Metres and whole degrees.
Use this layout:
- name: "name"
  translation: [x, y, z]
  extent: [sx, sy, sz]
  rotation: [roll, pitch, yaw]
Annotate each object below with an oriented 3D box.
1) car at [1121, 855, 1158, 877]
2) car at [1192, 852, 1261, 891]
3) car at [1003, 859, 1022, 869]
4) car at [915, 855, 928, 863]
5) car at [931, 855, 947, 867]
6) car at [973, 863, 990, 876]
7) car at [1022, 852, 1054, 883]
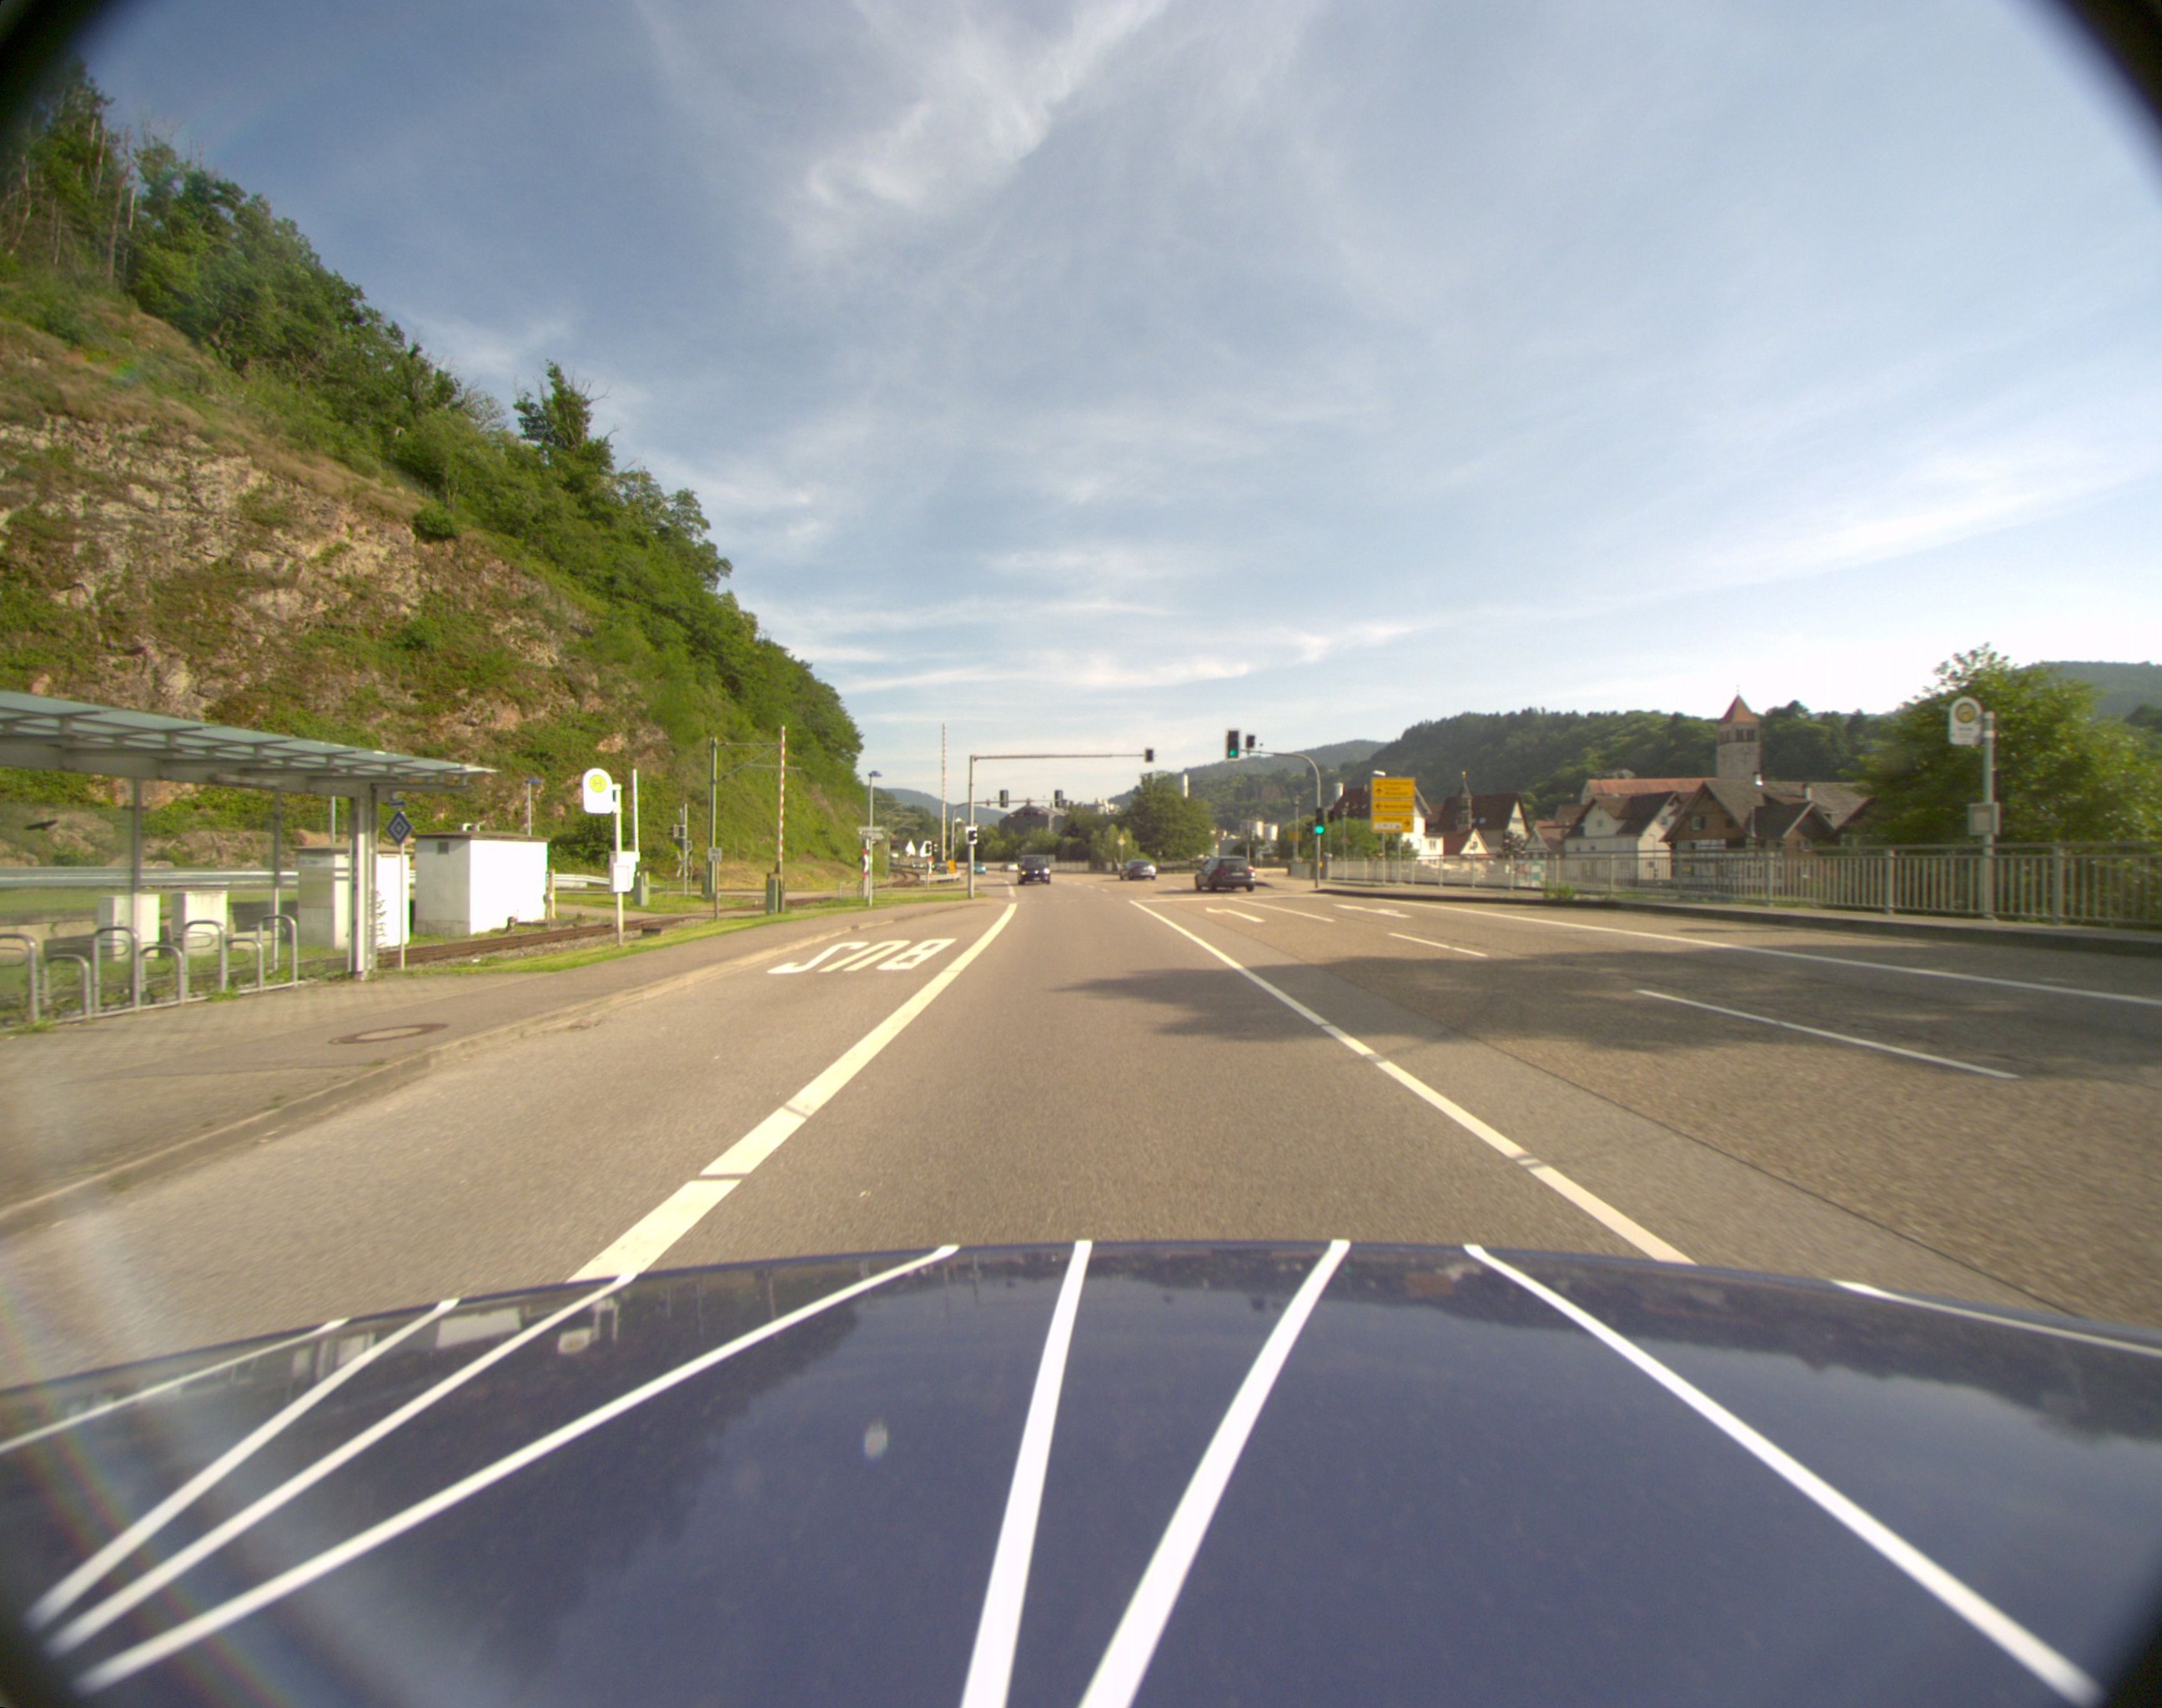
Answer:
- name: "car"
  translation: [3.956, 0.804, 52.271]
  extent: [1.776, 1.369, 4.642]
  rotation: [-3, 0, -5]
- name: "car"
  translation: [6.003, 0.681, 31.953]
  extent: [1.790, 1.470, 4.752]
  rotation: [-1, 0, -2]
- name: "car"
  translation: [-9.297, 1.309, 102.724]
  extent: [1.652, 1.224, 4.088]
  rotation: [-1, 0, -17]
- name: "car"
  translation: [-30.553, 0.910, 145.095]
  extent: [1.879, 1.452, 3.722]
  rotation: [0, 1, -21]
- name: "car"
  translation: [-23.355, 1.152, 124.929]
  extent: [2.002, 1.783, 3.993]
  rotation: [-1, 0, -21]
- name: "car"
  translation: [-11.877, 1.796, 90.641]
  extent: [1.769, 1.452, 3.572]
  rotation: [1, 1, -11]
- name: "car"
  translation: [-2.868, 0.889, 50.393]
  extent: [1.909, 1.868, 4.346]
  rotation: [-3, 0, -4]
